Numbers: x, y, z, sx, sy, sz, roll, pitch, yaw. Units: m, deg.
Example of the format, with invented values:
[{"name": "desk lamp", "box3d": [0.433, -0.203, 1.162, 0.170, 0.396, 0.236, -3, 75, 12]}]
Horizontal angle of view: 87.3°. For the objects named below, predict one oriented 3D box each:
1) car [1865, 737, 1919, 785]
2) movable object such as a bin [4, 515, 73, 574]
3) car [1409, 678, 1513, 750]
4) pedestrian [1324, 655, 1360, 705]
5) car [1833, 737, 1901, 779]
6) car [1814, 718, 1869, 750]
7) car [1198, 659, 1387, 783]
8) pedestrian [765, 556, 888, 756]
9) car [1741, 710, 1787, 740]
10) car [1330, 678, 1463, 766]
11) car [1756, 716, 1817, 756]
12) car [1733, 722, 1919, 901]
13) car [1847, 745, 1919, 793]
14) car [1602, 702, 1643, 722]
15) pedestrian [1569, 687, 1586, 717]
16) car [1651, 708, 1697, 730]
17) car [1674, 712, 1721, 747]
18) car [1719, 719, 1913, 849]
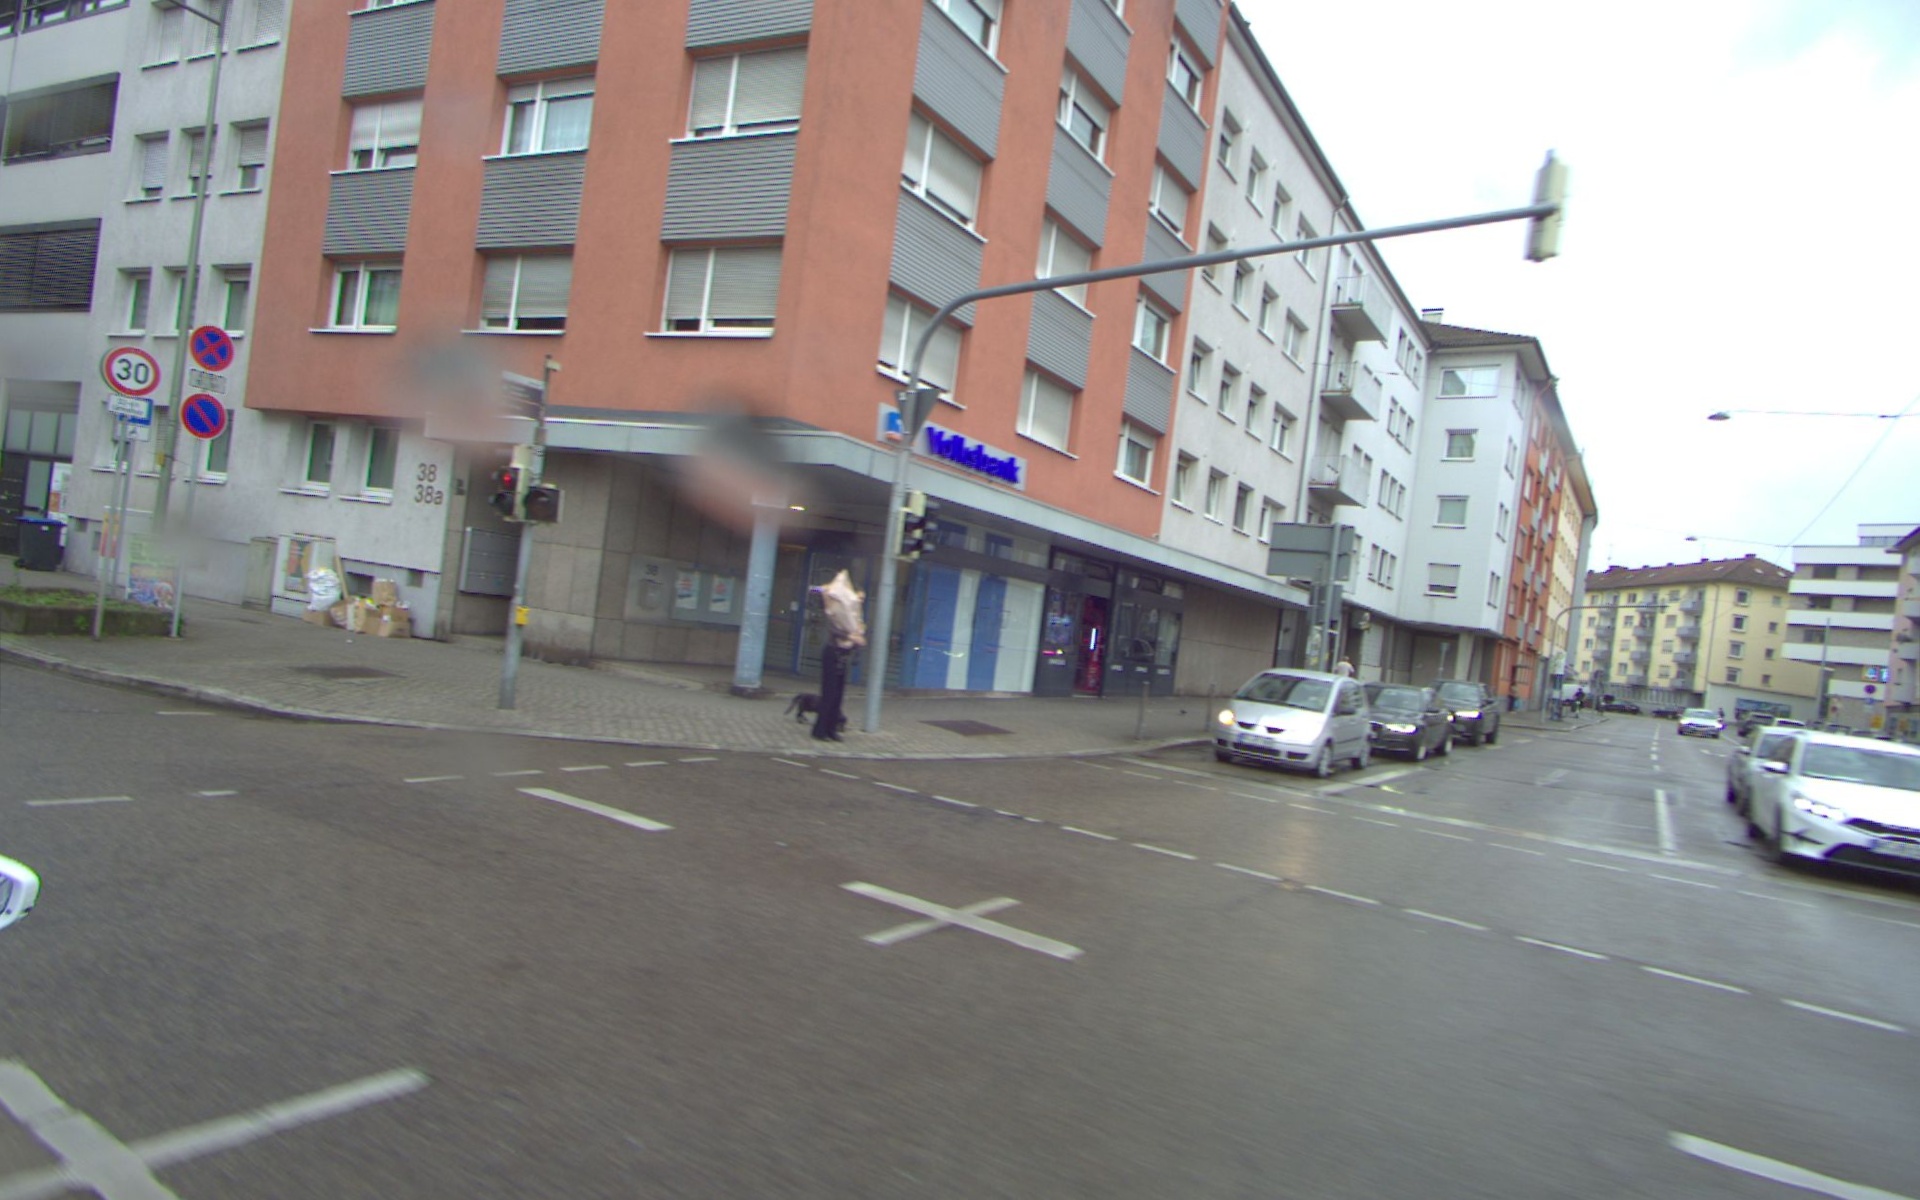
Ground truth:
[{"name": "car", "box3d": [39.669, 6.778, 42.162, 1.960, 1.637, 4.115, 8, -1, 36]}, {"name": "movable object such as a bin", "box3d": [-19.186, -1.148, 20.948, 0.770, 1.081, 0.715, 8, 0, 23]}, {"name": "car", "box3d": [13.748, 3.094, 27.471, 1.729, 1.561, 4.240, 7, -1, 36]}, {"name": "pedestrian", "box3d": [13.905, 2.924, 36.603, 0.813, 1.630, 1.012, 8, -2, 36]}, {"name": "car", "box3d": [46.345, 8.024, 51.486, 1.960, 1.637, 4.116, 8, -1, 35]}, {"name": "car", "box3d": [52.735, 7.999, 60.264, 1.969, 1.402, 3.985, 8, 1, 36]}, {"name": "car", "box3d": [5.403, 1.880, 16.030, 1.676, 1.504, 3.949, 7, -1, 35]}, {"name": "pedestrian", "box3d": [-1.549, 0.662, 11.755, 0.757, 2.182, 0.826, 8, -1, 35]}, {"name": "car", "box3d": [51.138, 7.905, 64.043, 1.969, 1.504, 3.987, 8, 0, 36]}, {"name": "car", "box3d": [9.307, 2.530, 21.236, 1.642, 1.442, 4.372, 7, -1, 35]}, {"name": "car", "box3d": [41.488, 6.797, 50.577, 1.969, 1.504, 3.986, 8, 1, 36]}, {"name": "car", "box3d": [10.656, 2.385, 11.880, 1.889, 1.504, 4.655, 7, -1, 33]}, {"name": "car", "box3d": [42.915, 7.786, 46.706, 1.960, 1.637, 4.116, 8, -1, 35]}, {"name": "car", "box3d": [75.051, 12.661, 114.013, 1.892, 1.724, 3.967, 9, -2, 1]}, {"name": "pedestrian", "box3d": [39.944, 6.592, 65.110, 0.679, 1.826, 0.705, 8, -1, 29]}, {"name": "car", "box3d": [74.414, 12.429, 104.876, 1.891, 1.724, 3.968, 9, -2, 4]}, {"name": "car", "box3d": [40.104, 7.007, 54.752, 1.827, 1.504, 3.987, 8, 0, 36]}, {"name": "car", "box3d": [13.896, 2.882, 16.605, 1.816, 1.504, 4.513, 7, -1, 35]}]
